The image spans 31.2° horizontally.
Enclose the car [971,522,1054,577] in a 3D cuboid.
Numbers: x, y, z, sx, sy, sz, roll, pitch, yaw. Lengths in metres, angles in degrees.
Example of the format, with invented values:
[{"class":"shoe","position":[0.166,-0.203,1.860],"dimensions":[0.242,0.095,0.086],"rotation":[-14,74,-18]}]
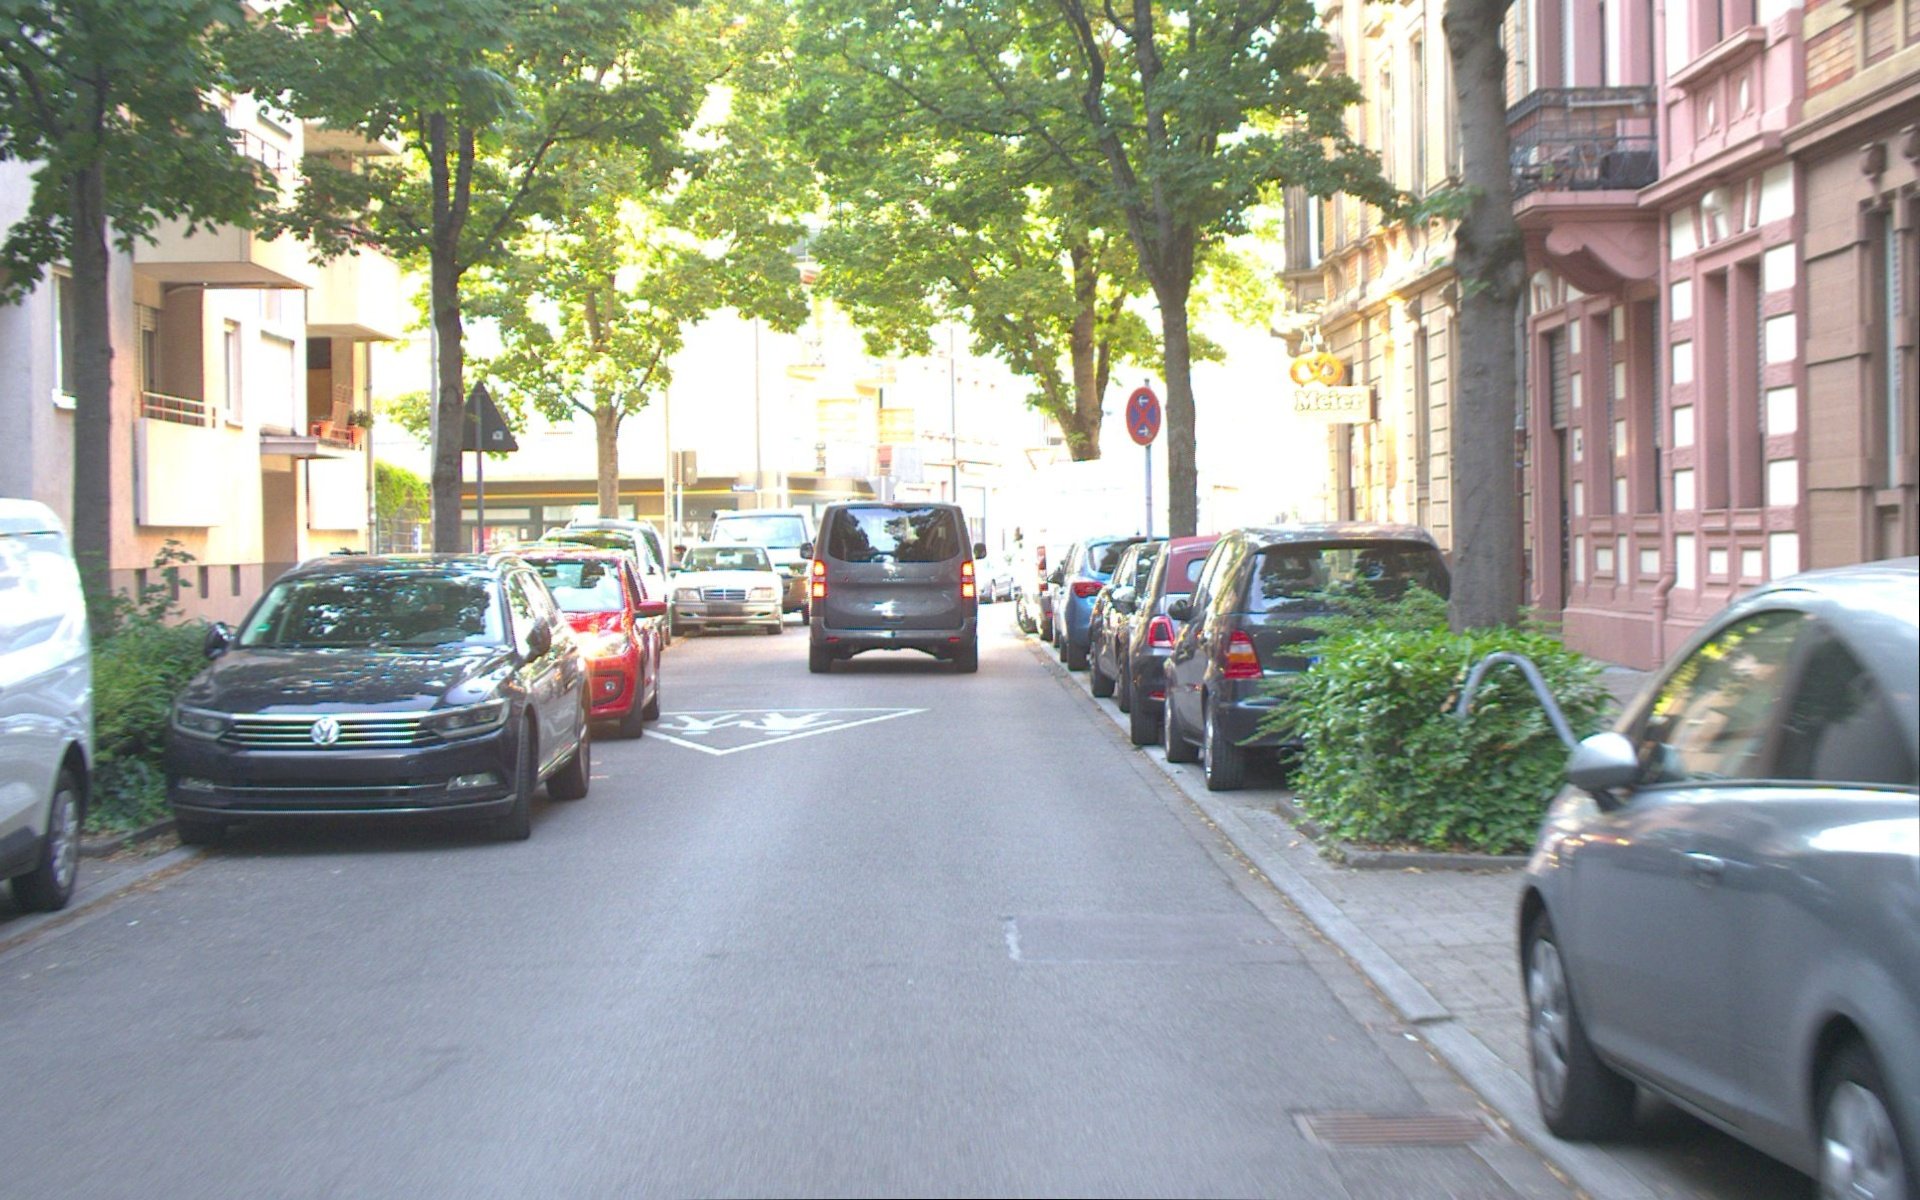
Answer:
[{"class":"car","position":[1.566,-1.505,101.531],"dimensions":[1.796,1.573,3.746],"rotation":[-1,1,11]}]

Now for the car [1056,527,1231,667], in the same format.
[{"class":"car","position":[2.027,-0.072,38.777],"dimensions":[1.750,1.466,3.776],"rotation":[-1,1,0]}]

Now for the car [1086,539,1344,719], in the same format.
[{"class":"car","position":[2.149,0.201,29.899],"dimensions":[1.715,1.398,3.814],"rotation":[-2,1,-3]}]

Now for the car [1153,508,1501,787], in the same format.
[{"class":"car","position":[2.227,0.225,21.751],"dimensions":[1.611,1.553,3.767],"rotation":[-2,1,-2]}]

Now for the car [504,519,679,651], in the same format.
[{"class":"car","position":[-4.785,-0.232,45.085],"dimensions":[1.897,1.631,4.156],"rotation":[0,1,-1]}]

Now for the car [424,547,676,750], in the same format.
[{"class":"car","position":[-3.197,0.335,27.351],"dimensions":[1.630,1.425,3.543],"rotation":[-2,1,-2]}]

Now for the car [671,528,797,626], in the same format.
[{"class":"car","position":[-3.493,-0.383,53.638],"dimensions":[1.741,1.399,3.375],"rotation":[-2,1,-1]}]

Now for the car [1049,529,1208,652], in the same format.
[{"class":"car","position":[2.118,-0.154,44.033],"dimensions":[1.750,1.466,3.776],"rotation":[-1,1,-1]}]

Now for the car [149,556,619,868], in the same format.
[{"class":"car","position":[-3.036,0.521,19.054],"dimensions":[1.846,1.446,4.503],"rotation":[-1,1,0]}]

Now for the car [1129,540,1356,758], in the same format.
[{"class":"car","position":[2.079,0.317,26.053],"dimensions":[1.551,1.491,3.610],"rotation":[-1,1,2]}]

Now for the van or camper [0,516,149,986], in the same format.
[{"class":"van or camper","position":[-4.602,0.555,13.345],"dimensions":[1.931,1.754,4.466],"rotation":[2,2,-2]}]

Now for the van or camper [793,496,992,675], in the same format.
[{"class":"van or camper","position":[-0.706,-0.206,38.939],"dimensions":[2.035,1.891,4.271],"rotation":[-1,1,1]}]

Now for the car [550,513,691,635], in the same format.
[{"class":"car","position":[-4.894,-0.407,49.908],"dimensions":[1.741,1.706,3.375],"rotation":[0,1,-1]}]

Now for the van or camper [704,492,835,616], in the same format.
[{"class":"van or camper","position":[-3.214,-0.817,58.733],"dimensions":[1.862,1.976,4.271],"rotation":[-2,1,1]}]

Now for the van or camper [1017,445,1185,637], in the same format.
[{"class":"van or camper","position":[1.971,-0.867,49.744],"dimensions":[1.993,2.590,5.425],"rotation":[-1,1,-2]}]

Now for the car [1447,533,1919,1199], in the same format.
[{"class":"car","position":[2.324,0.615,7.591],"dimensions":[1.697,1.477,4.001],"rotation":[-3,1,-2]}]
